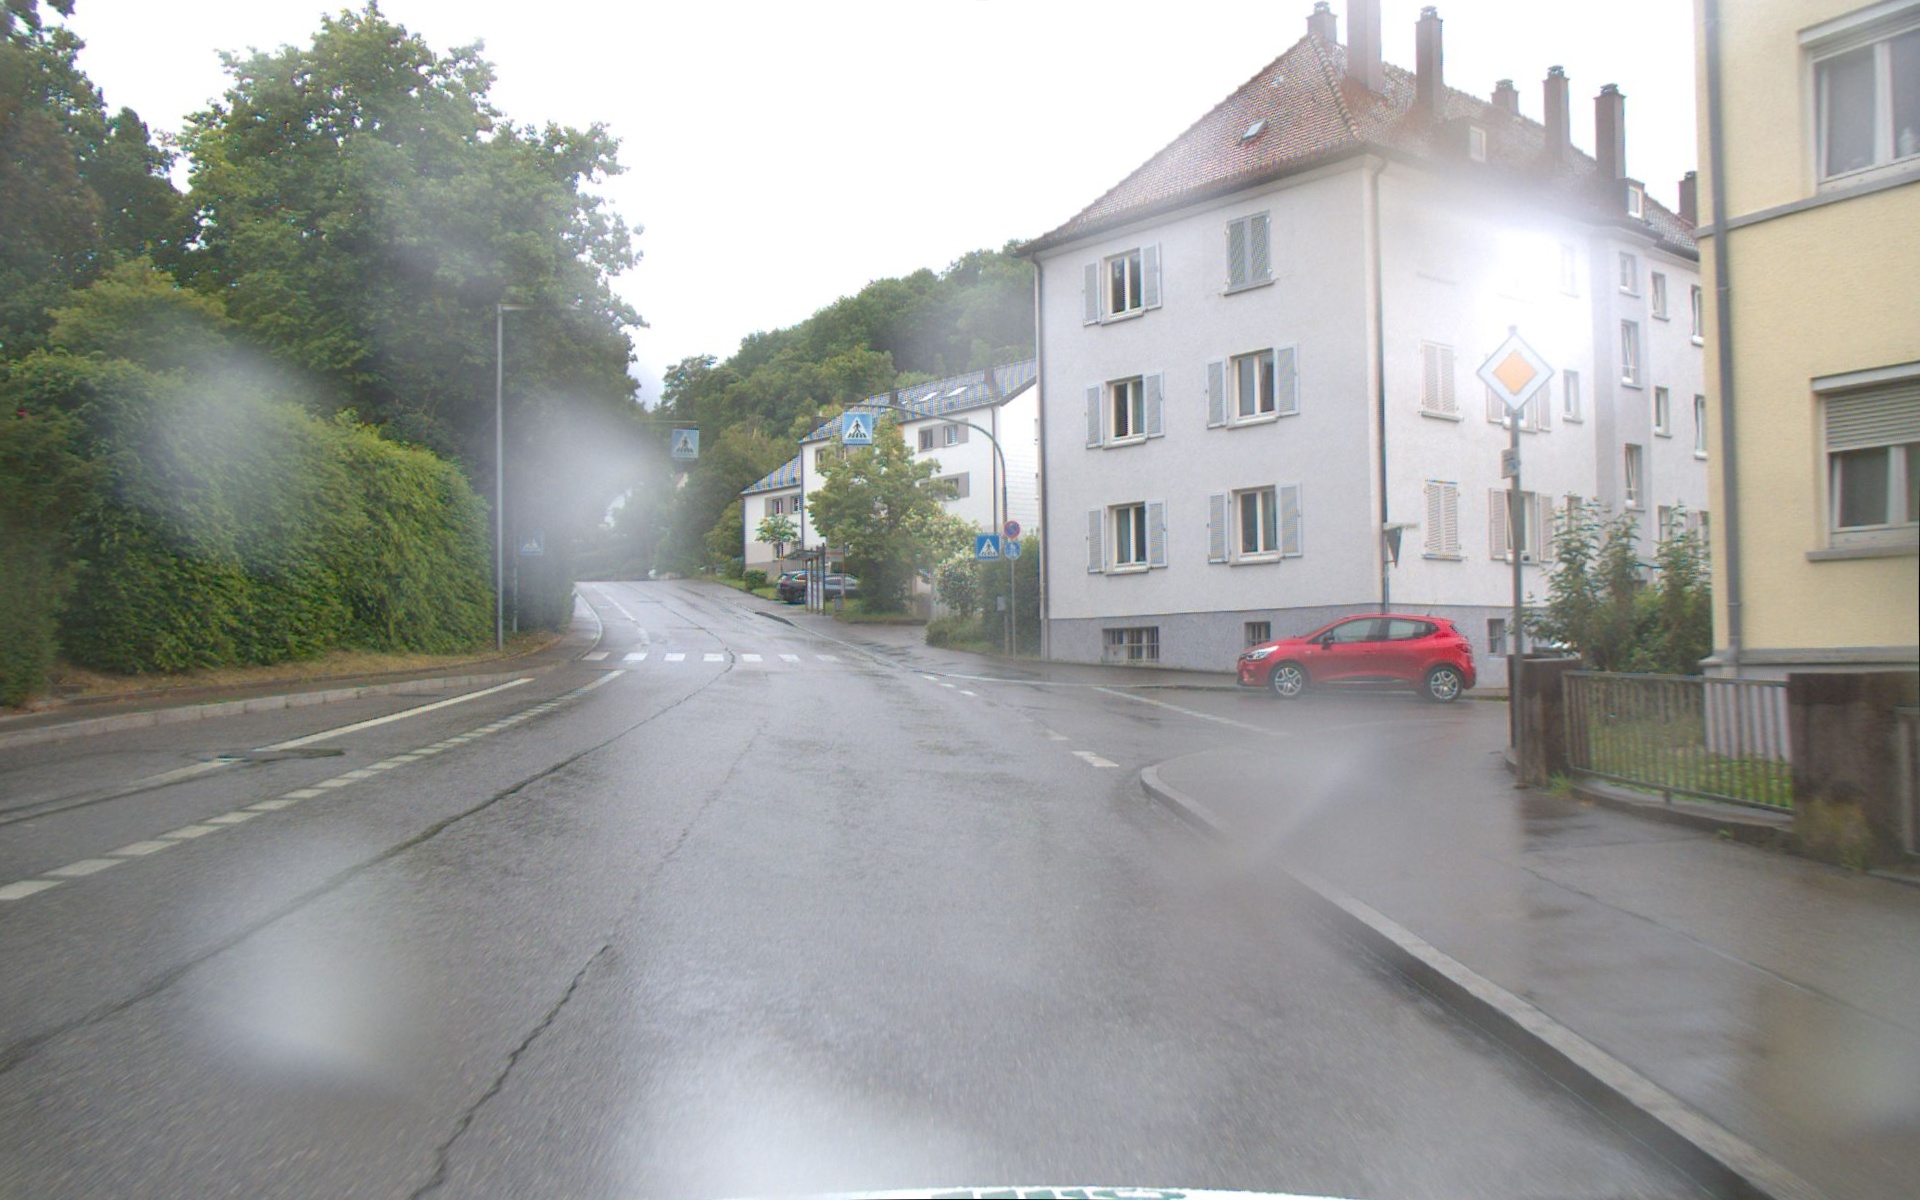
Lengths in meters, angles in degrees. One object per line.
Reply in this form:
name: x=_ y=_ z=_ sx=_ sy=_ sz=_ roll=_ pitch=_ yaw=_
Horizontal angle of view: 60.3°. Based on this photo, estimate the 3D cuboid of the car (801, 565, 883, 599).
car: x=-5.743 y=-0.905 z=80.285 sx=3.683 sy=1.483 sz=1.717 roll=-2 pitch=3 yaw=-17

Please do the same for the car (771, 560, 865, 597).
car: x=-7.325 y=-1.128 z=85.264 sx=4.462 sy=1.689 sz=1.845 roll=-2 pitch=3 yaw=-22

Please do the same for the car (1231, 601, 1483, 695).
car: x=6.686 y=0.785 z=28.217 sx=3.993 sy=1.432 sz=1.726 roll=1 pitch=1 yaw=7
